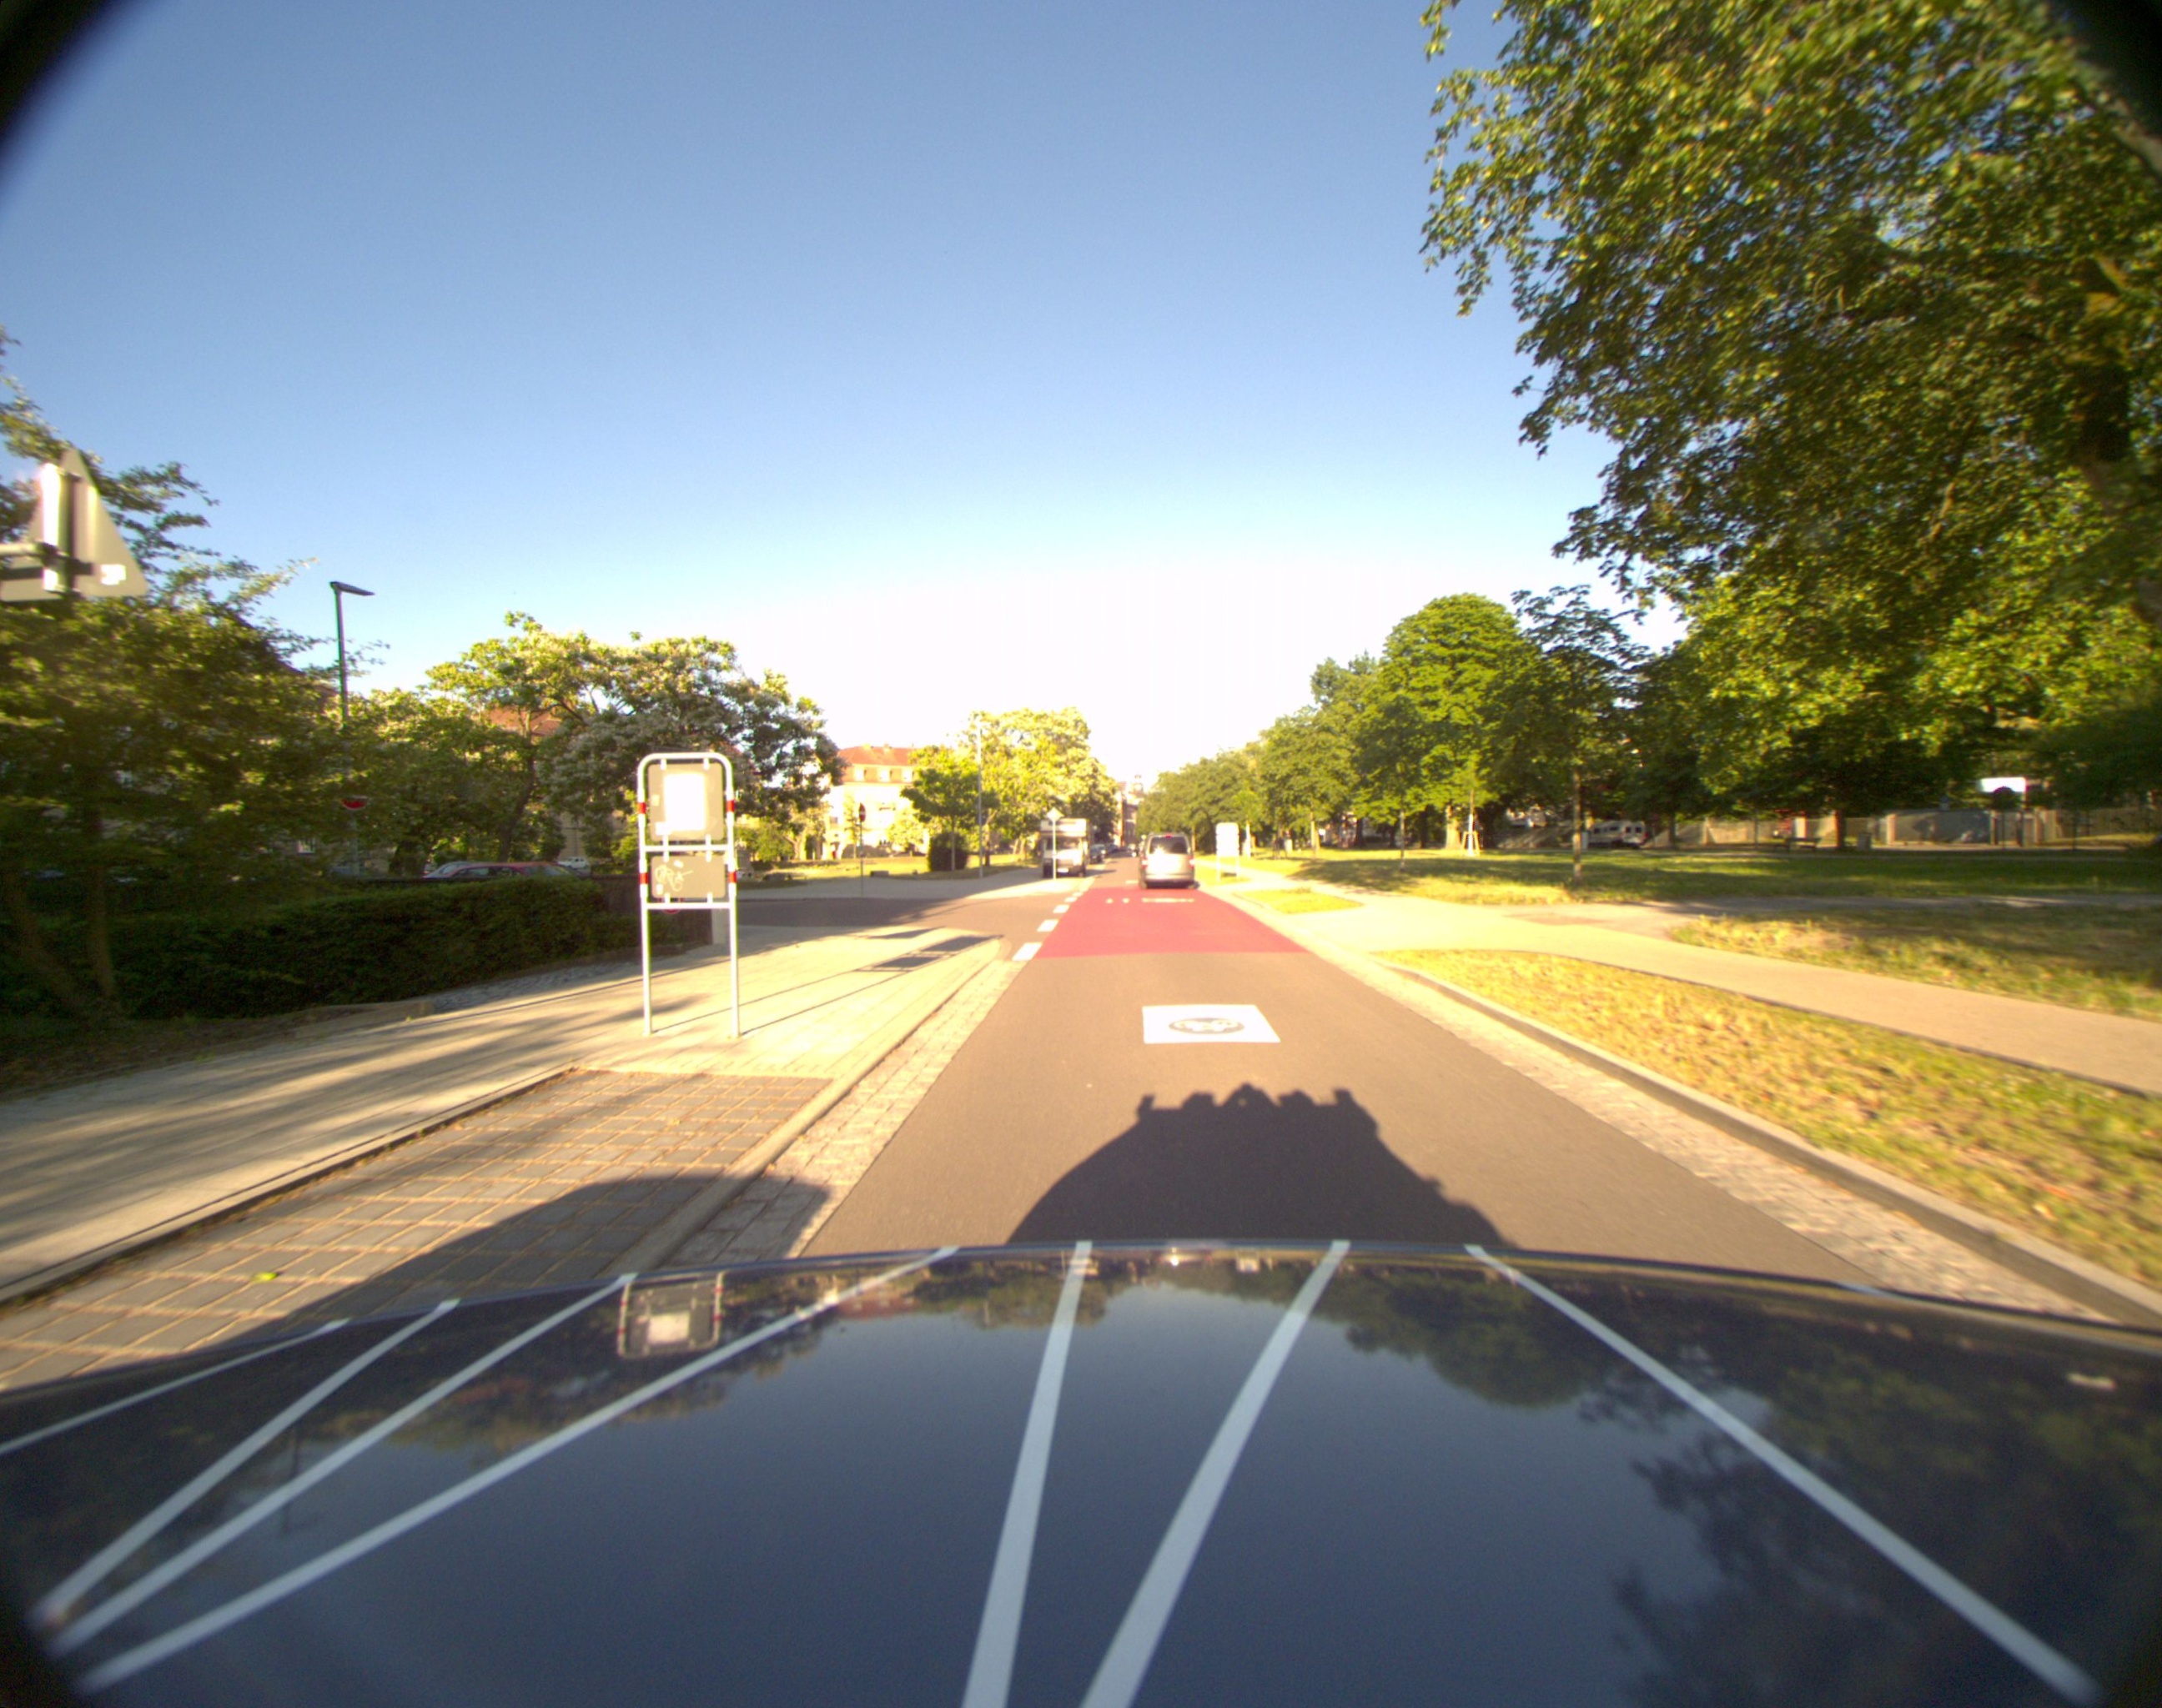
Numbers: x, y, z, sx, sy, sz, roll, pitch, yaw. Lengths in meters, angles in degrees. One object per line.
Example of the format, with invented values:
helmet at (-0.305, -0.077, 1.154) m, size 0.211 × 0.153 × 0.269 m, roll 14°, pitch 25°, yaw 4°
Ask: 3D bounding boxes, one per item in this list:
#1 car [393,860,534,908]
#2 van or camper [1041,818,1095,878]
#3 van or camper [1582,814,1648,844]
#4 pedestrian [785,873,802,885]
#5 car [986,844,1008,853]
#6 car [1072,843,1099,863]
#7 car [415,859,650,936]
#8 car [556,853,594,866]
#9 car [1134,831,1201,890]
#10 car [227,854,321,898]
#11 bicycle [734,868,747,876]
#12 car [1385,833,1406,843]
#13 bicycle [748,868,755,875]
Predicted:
car at (-20.214, 0.988, 24.883) m, size 3.991 × 1.419 × 1.729 m, roll -2°, pitch 0°, yaw 20°
van or camper at (-0.547, -0.365, 38.105) m, size 2.427 × 2.767 × 5.952 m, roll 0°, pitch 2°, yaw 2°
van or camper at (46.460, -2.123, 66.246) m, size 1.998 × 2.425 × 5.466 m, roll -2°, pitch 1°, yaw 2°
pedestrian at (-17.995, 1.559, 47.585) m, size 0.497 × 0.760 × 0.812 m, roll -1°, pitch 0°, yaw 42°
car at (-15.485, -1.092, 139.359) m, size 3.706 × 1.490 × 1.724 m, roll -3°, pitch 1°, yaw -15°
car at (0.416, -0.139, 62.647) m, size 1.998 × 1.501 × 4.000 m, roll -2°, pitch 1°, yaw 3°
car at (-12.247, 0.953, 17.113) m, size 4.042 × 1.412 × 1.789 m, roll -2°, pitch 3°, yaw 7°
car at (-60.270, 0.618, 90.551) m, size 1.724 × 1.490 × 3.707 m, roll -2°, pitch 0°, yaw 10°
car at (2.873, 0.139, 26.017) m, size 1.848 × 1.837 × 4.572 m, roll 0°, pitch 2°, yaw 1°
car at (-32.116, 0.867, 30.230) m, size 3.695 × 1.618 × 1.729 m, roll -2°, pitch 0°, yaw 30°
bicycle at (-29.553, 1.546, 65.952) m, size 0.907 × 0.648 × 0.438 m, roll -3°, pitch 1°, yaw -36°
car at (49.457, -2.447, 119.493) m, size 1.796 × 1.455 × 4.000 m, roll -2°, pitch 1°, yaw 3°
bicycle at (-28.768, 1.541, 66.358) m, size 0.488 × 0.579 × 0.438 m, roll -3°, pitch 1°, yaw -36°
